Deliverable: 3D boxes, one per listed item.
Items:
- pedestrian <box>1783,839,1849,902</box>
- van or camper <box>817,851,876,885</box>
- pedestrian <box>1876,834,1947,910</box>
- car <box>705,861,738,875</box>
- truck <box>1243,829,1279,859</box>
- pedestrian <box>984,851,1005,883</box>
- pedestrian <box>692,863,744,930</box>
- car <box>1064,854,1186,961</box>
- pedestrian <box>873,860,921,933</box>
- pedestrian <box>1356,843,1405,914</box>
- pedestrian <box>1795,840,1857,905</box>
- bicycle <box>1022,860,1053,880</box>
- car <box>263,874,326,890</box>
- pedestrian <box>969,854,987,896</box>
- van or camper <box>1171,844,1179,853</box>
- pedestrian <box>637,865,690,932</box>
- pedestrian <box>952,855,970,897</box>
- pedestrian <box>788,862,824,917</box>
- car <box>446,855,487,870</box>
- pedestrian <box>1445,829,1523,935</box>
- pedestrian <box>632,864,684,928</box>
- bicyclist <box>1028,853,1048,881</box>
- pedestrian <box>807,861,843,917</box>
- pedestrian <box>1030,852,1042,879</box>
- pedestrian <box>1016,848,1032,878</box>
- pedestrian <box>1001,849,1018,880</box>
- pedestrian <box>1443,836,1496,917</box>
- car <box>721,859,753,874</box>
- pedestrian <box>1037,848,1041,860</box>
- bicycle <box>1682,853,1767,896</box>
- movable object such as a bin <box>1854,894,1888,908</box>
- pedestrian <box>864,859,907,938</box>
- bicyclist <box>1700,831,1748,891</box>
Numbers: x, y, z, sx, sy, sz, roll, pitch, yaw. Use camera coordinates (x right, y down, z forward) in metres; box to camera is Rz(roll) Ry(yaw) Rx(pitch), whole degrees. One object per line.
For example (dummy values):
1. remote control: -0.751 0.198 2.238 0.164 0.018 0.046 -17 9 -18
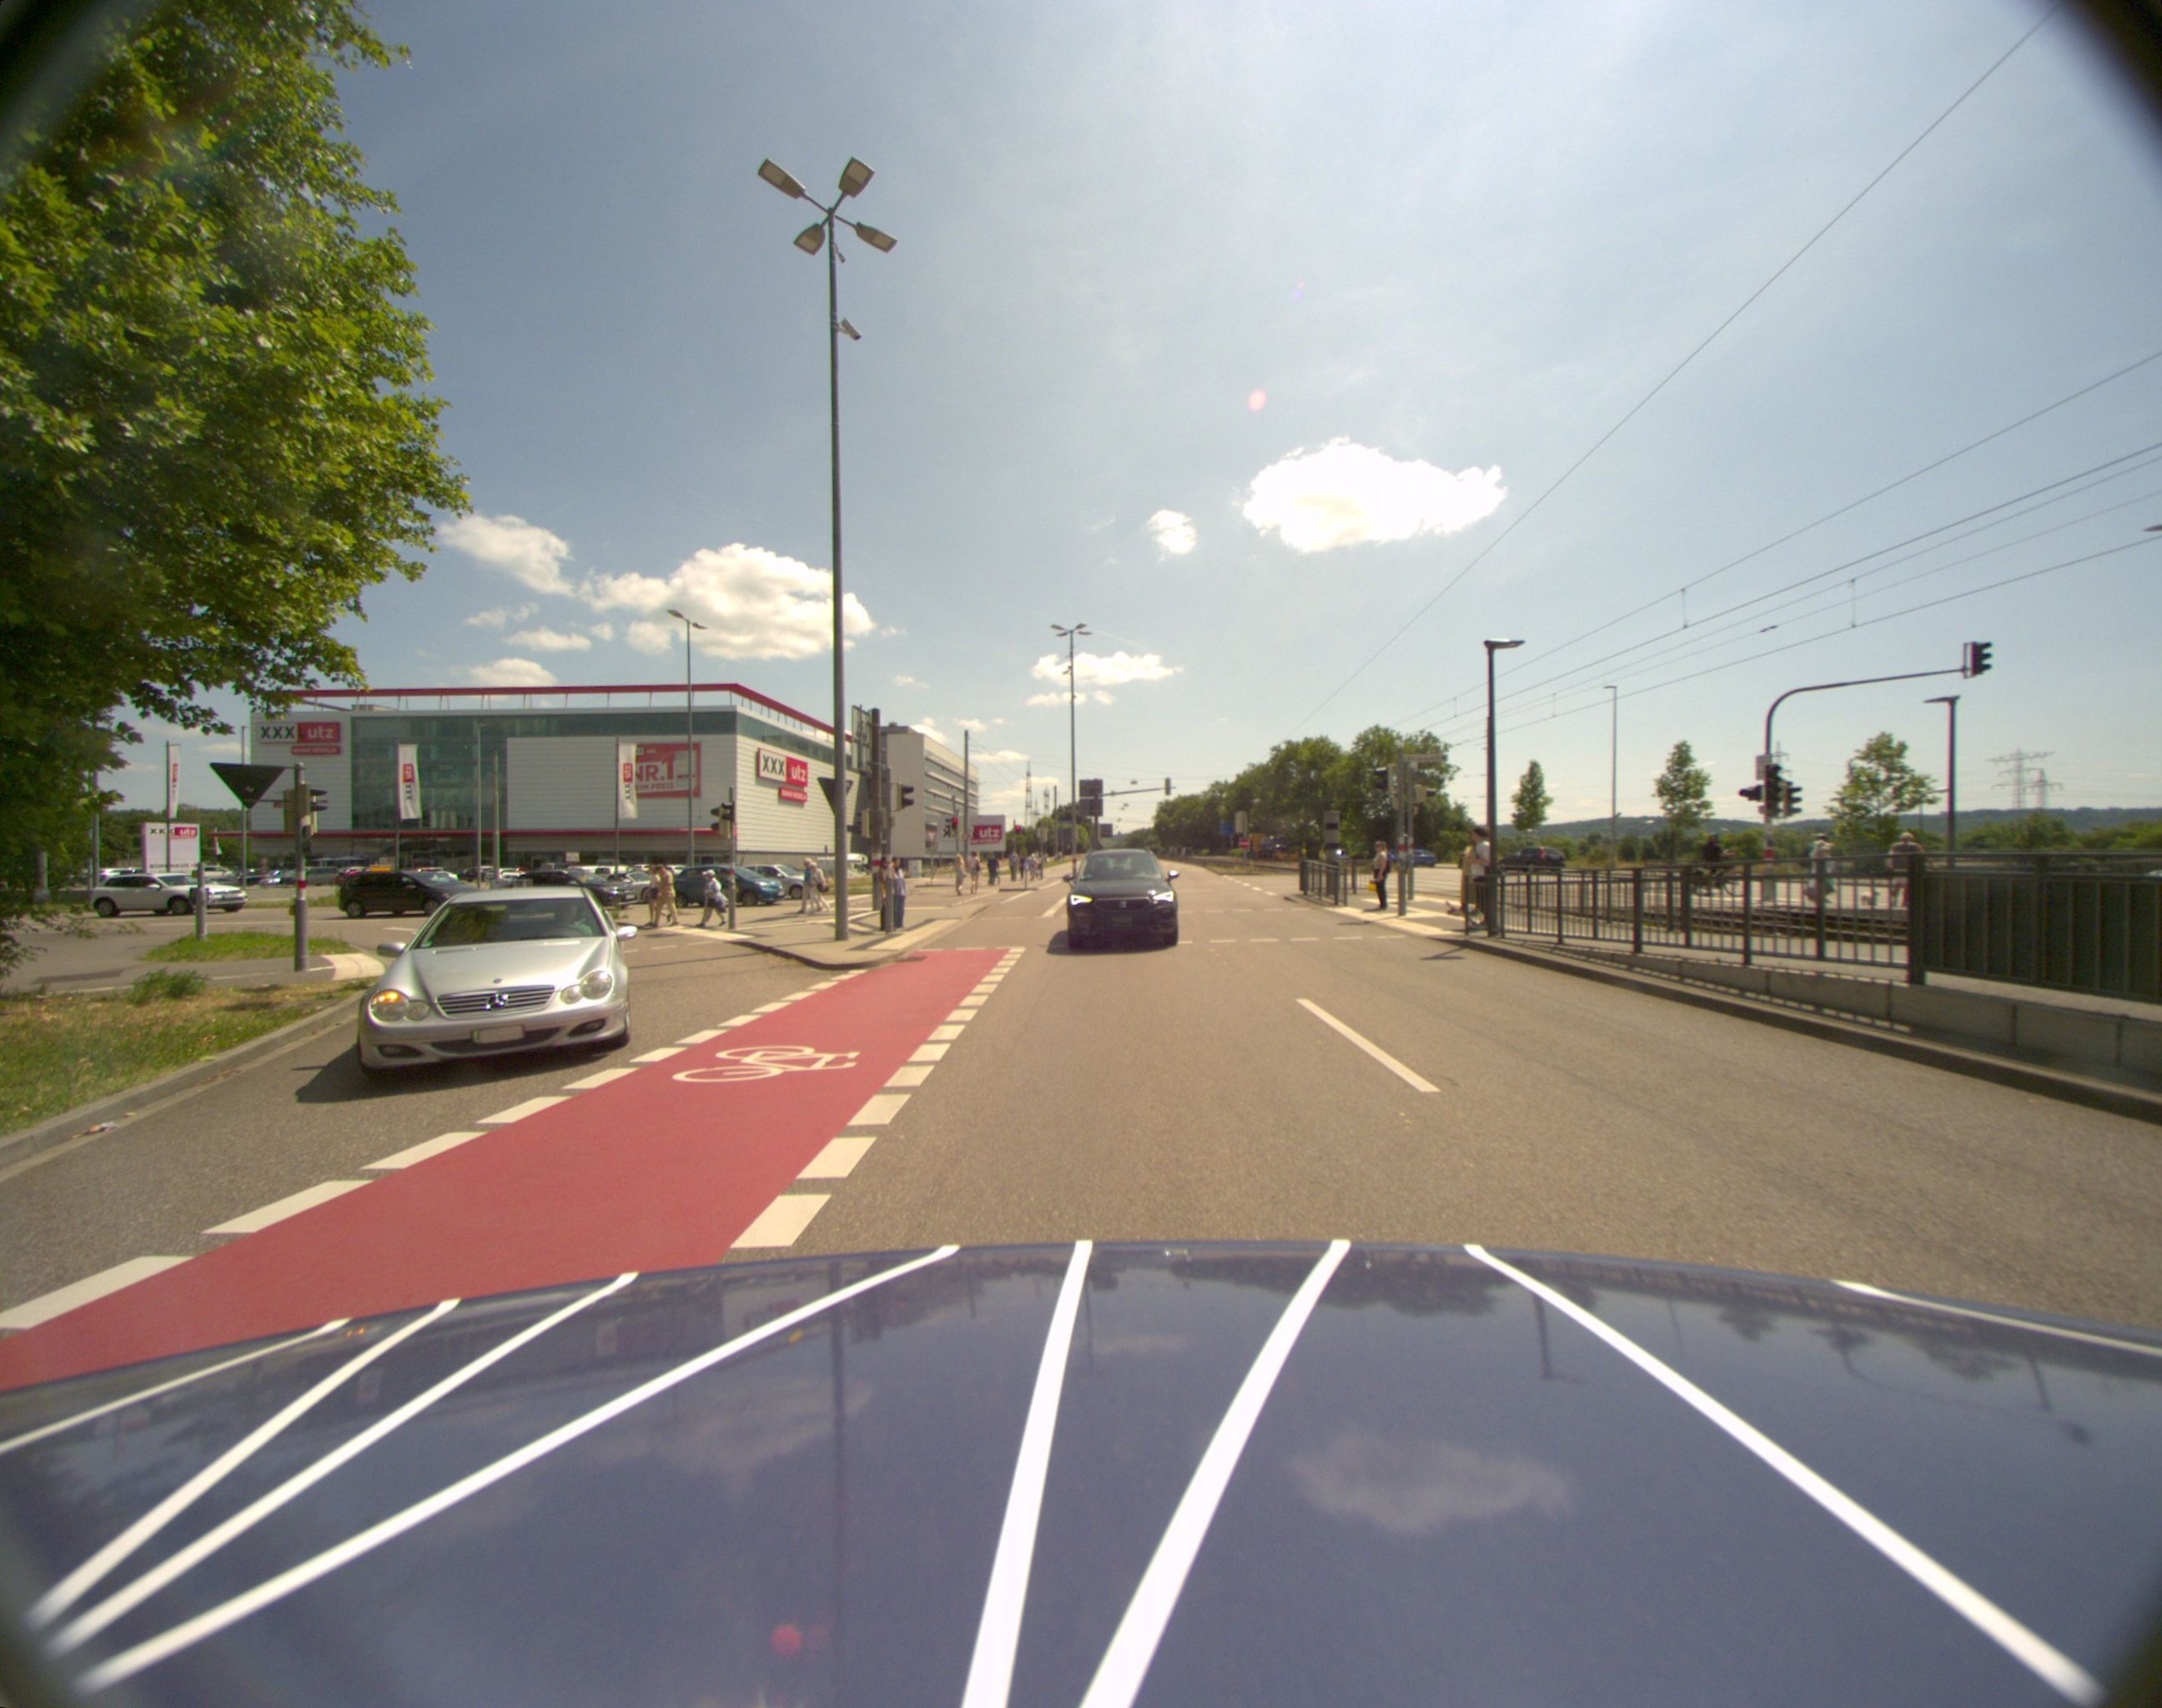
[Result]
1. pedestrian: 19.119 0.423 19.781 0.959 1.601 0.764 -1 1 -1
2. van or camper: -22.538 1.306 73.523 2.715 2.929 7.615 -2 1 5
3. pedestrian: 18.737 0.393 17.151 0.763 1.662 0.764 -1 1 -1
4. car: -48.868 1.858 103.317 1.998 1.683 4.521 -2 0 4
5. truck: 25.580 -1.344 108.212 3.134 4.015 7.474 -1 0 -1
6. pedestrian: -4.505 0.673 39.583 0.783 1.663 0.947 -2 1 9
7. pedestrian: -9.431 1.086 19.737 0.795 1.649 0.853 -1 1 28
8. car: 0.745 0.827 13.695 1.819 1.583 4.000 -2 0 2
9. pedestrian: -4.209 0.954 17.415 0.896 1.597 0.767 -2 1 -2
10. pedestrian: 6.912 0.553 17.543 0.787 1.563 0.764 -2 1 -2
11. pedestrian: 18.296 0.447 18.671 0.763 1.539 0.764 -1 1 -1
12. bicycle: -2.687 0.974 46.618 0.833 1.155 1.874 -1 0 -43
13. car: -80.757 2.839 78.101 1.858 1.404 4.257 -1 1 6
14. pedestrian: -4.064 0.824 30.073 0.528 1.656 0.640 -1 1 6
15. van or camper: 27.126 -1.643 218.950 1.998 2.571 5.845 0 1 4
16. pedestrian: -10.790 1.138 19.654 0.796 1.649 0.853 -1 1 19
17. pedestrian: -4.668 0.853 29.615 0.528 1.570 0.612 -1 1 6
18. pedestrian: -8.480 1.083 23.446 0.603 1.628 0.864 -1 2 15
19. car: -85.034 1.155 105.222 1.849 2.002 4.287 -2 1 5
20. pedestrian: 7.054 0.473 13.339 0.865 1.792 0.883 -2 1 -2
21. pedestrian: -11.342 1.115 20.379 0.796 1.649 0.853 -1 1 19
22. bicyclist: -2.636 0.769 46.593 0.818 1.691 0.797 -2 1 -43
23. pedestrian: -7.865 1.061 23.371 0.606 1.628 0.864 -1 2 15
24. pedestrian: -2.537 0.655 42.623 0.591 1.467 0.805 -3 1 -6
25. pedestrian: -3.444 0.529 46.055 0.806 1.749 0.796 -2 1 -15
26. pedestrian: -4.291 0.623 45.888 0.805 1.854 0.798 -2 1 6
27. pedestrian: 8.238 0.462 16.133 0.734 1.663 0.678 -2 1 -2
28. car: -46.586 1.659 103.023 1.998 1.911 4.521 -2 0 4
29. pedestrian: -6.494 -0.038 117.564 0.518 1.783 0.634 -1 1 2
30. bicycle: 17.658 0.541 20.851 1.979 1.094 0.763 -2 1 -14
31. movable object such as a bin: 18.502 1.099 17.792 0.572 0.319 0.229 -1 1 -2
32. pedestrian: -4.273 0.966 16.650 0.725 1.673 0.625 -2 1 -1
33. bicyclist: 17.653 0.178 20.868 0.666 1.606 0.732 -2 1 -14
